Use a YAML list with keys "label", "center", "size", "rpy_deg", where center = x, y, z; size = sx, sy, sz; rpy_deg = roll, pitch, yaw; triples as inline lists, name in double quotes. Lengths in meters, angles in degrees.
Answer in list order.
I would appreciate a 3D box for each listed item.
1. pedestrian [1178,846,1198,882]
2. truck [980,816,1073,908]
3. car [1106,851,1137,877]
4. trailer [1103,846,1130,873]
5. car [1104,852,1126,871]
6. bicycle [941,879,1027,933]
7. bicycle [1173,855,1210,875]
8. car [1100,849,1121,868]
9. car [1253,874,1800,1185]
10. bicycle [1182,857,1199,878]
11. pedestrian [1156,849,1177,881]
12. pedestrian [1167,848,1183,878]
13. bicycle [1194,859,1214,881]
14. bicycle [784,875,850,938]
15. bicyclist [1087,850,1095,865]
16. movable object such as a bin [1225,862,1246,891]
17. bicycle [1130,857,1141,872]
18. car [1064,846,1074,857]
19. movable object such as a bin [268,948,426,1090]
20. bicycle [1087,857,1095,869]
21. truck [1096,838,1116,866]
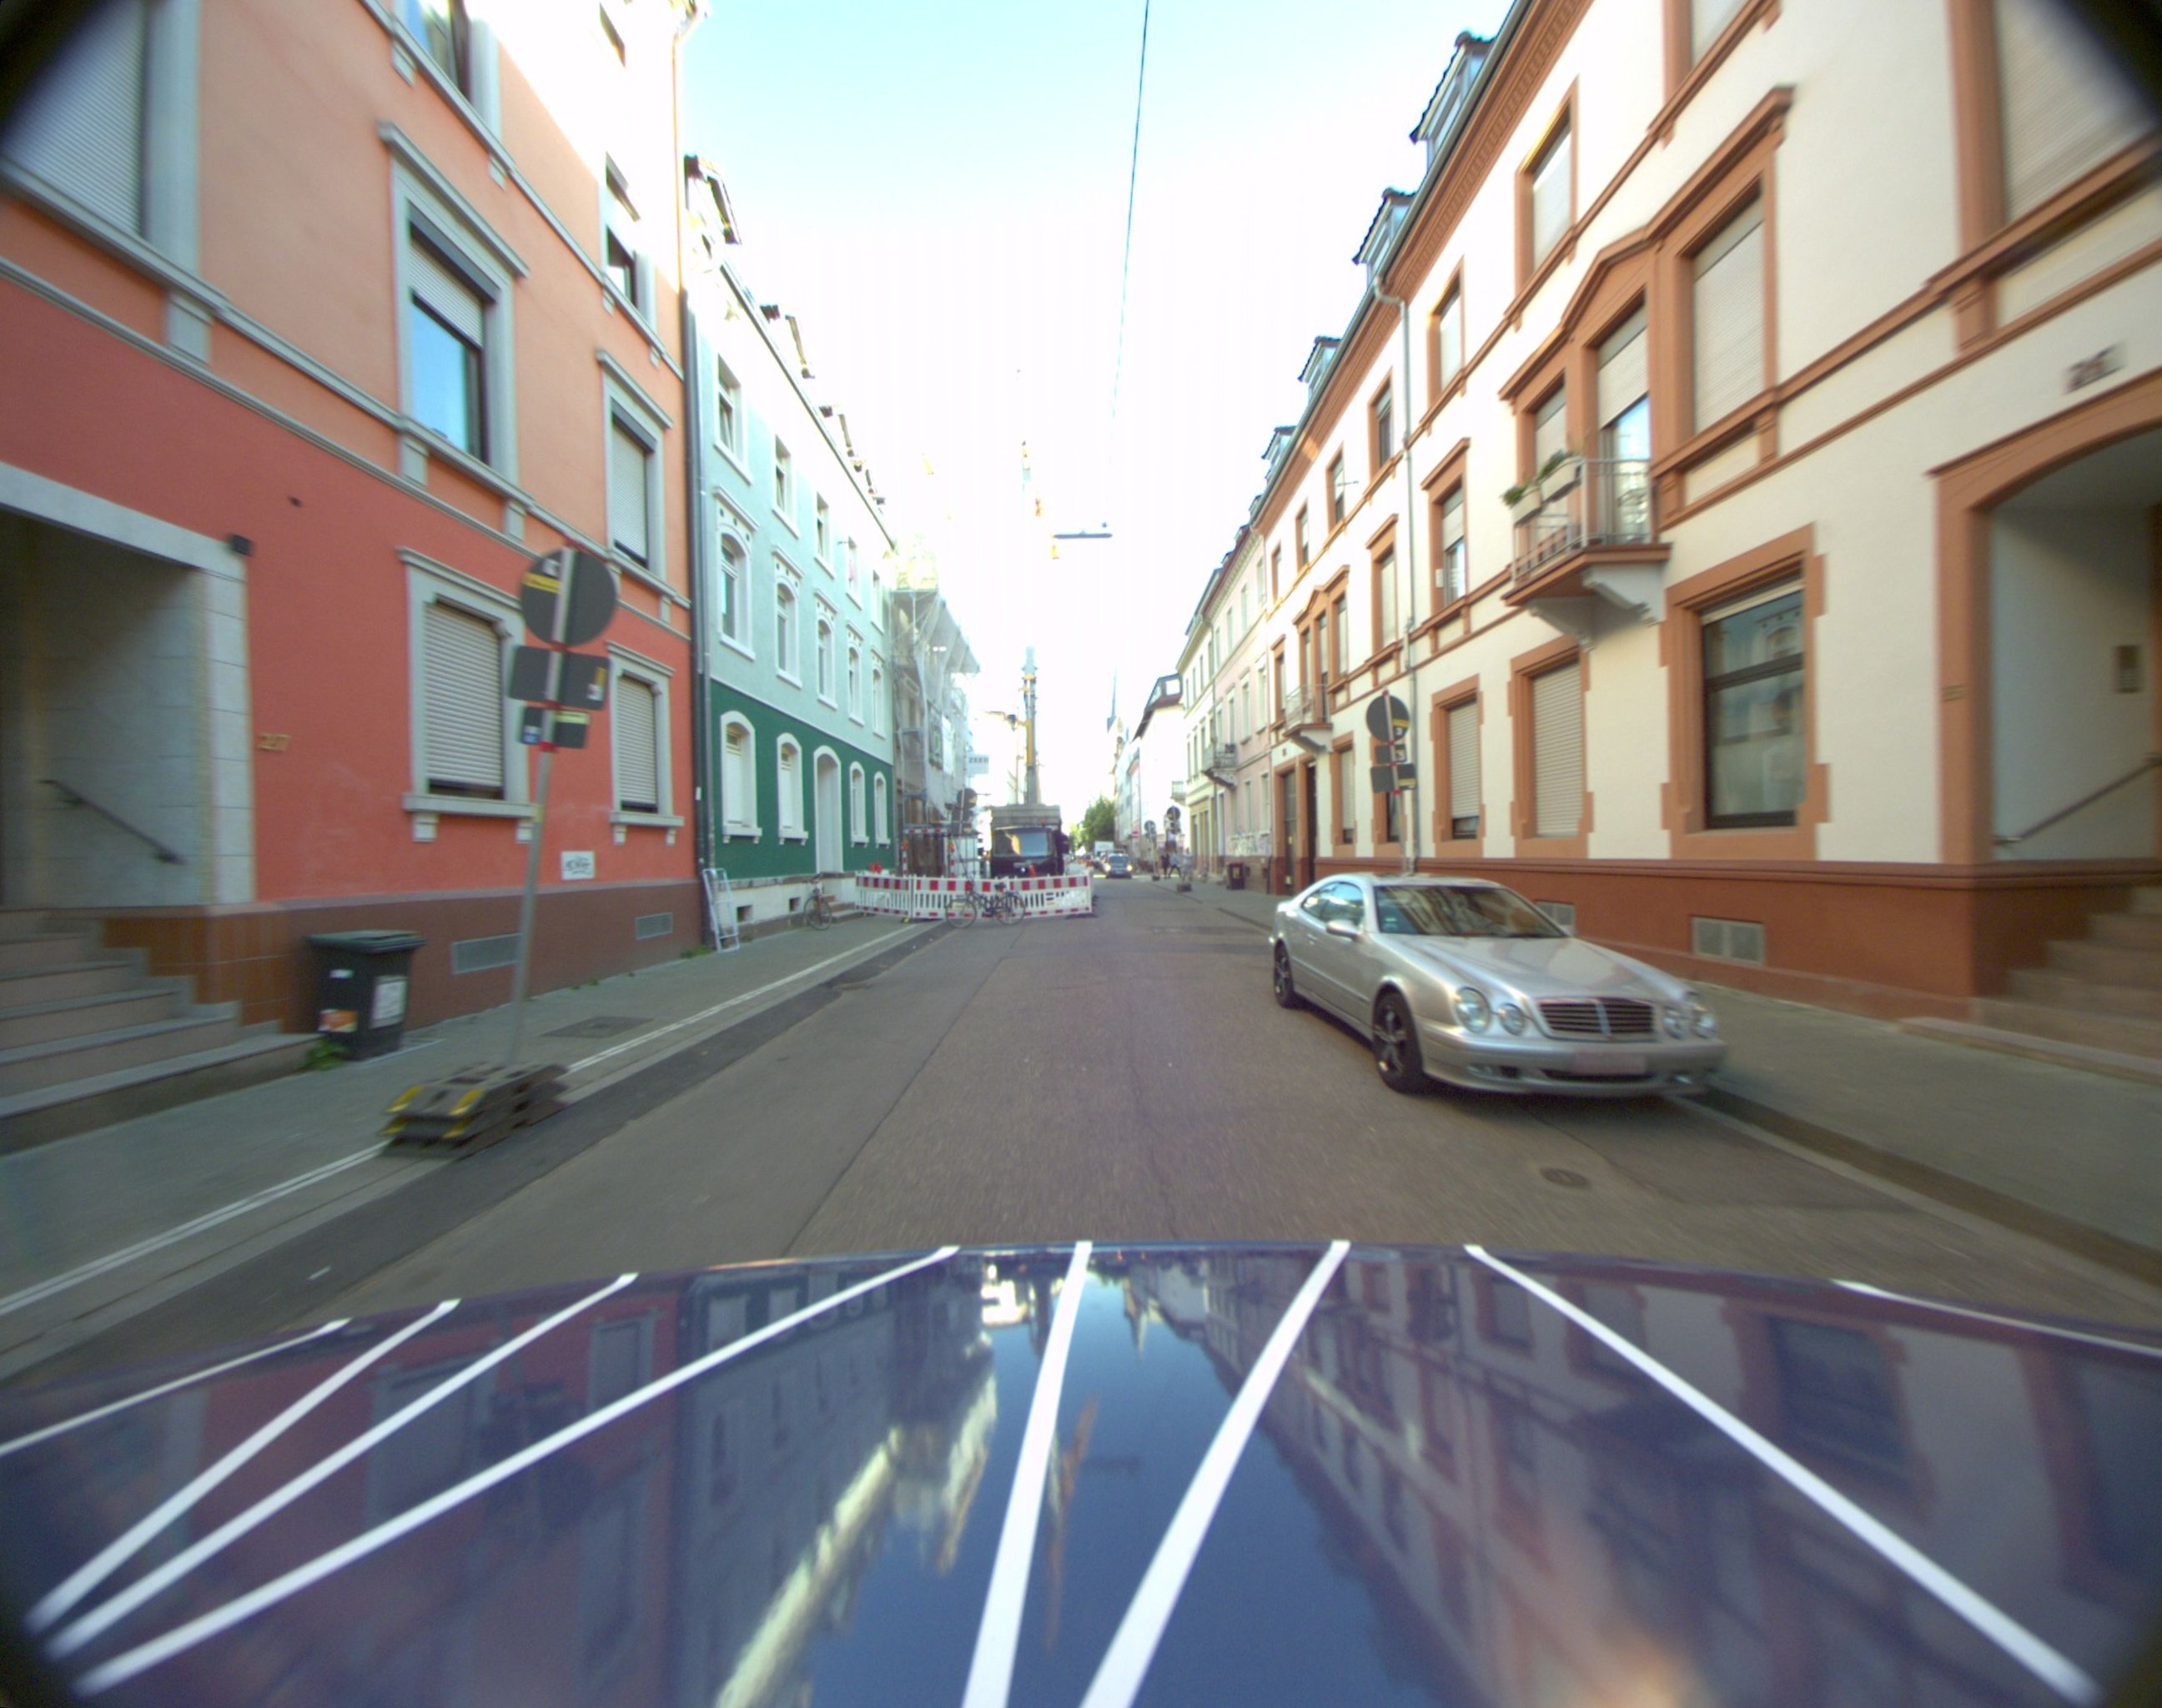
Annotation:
- label: "pedestrian"
  center: [5.228, 0.513, 37.259]
  size: [0.695, 1.691, 0.865]
  rpy_deg: [-5, -1, 0]
- label: "truck"
  center: [-1.762, 0.203, 27.748]
  size: [2.668, 2.798, 7.392]
  rpy_deg: [-2, 1, 0]
- label: "car"
  center: [2.636, 0.644, 50.612]
  size: [1.726, 1.596, 4.165]
  rpy_deg: [0, 0, -2]
- label: "trailer"
  center: [2.756, 0.383, 59.393]
  size: [1.666, 2.049, 4.362]
  rpy_deg: [0, 1, -3]
- label: "car"
  center: [2.847, 0.648, 64.940]
  size: [1.681, 1.546, 3.817]
  rpy_deg: [0, 1, 0]
- label: "bicycle"
  center: [-2.193, 1.168, 17.248]
  size: [1.855, 1.104, 0.643]
  rpy_deg: [-2, 1, -7]
- label: "bicycle"
  center: [7.759, 0.784, 53.605]
  size: [2.482, 1.351, 0.928]
  rpy_deg: [-1, 1, 1]
- label: "car"
  center: [2.886, 0.416, 75.181]
  size: [1.807, 1.834, 4.243]
  rpy_deg: [0, 1, 0]
- label: "car"
  center: [2.759, 0.954, 6.097]
  size: [1.715, 1.375, 4.505]
  rpy_deg: [1, 1, 0]
- label: "bicycle"
  center: [5.937, 0.723, 41.409]
  size: [0.605, 1.016, 1.818]
  rpy_deg: [-5, 1, 1]
- label: "pedestrian"
  center: [4.922, 0.625, 43.714]
  size: [0.829, 1.782, 0.988]
  rpy_deg: [1, 1, -16]
- label: "pedestrian"
  center: [5.753, 0.549, 46.612]
  size: [0.772, 1.839, 0.779]
  rpy_deg: [-2, 1, -8]
- label: "bicycle"
  center: [5.946, 0.765, 36.805]
  size: [0.623, 1.016, 1.818]
  rpy_deg: [-2, 0, 1]
- label: "bicycle"
  center: [-5.345, 1.034, 15.514]
  size: [0.656, 1.122, 1.834]
  rpy_deg: [3, 1, 0]
- label: "bicyclist"
  center: [0.966, 0.312, 72.724]
  size: [0.710, 1.427, 0.790]
  rpy_deg: [-1, 1, 2]
- label: "movable object such as a bin"
  center: [5.693, 0.836, 27.994]
  size: [0.607, 1.029, 0.596]
  rpy_deg: [-2, 1, -1]
- label: "bicycle"
  center: [4.219, 0.801, 58.462]
  size: [0.578, 1.132, 1.460]
  rpy_deg: [-2, 1, -5]
- label: "car"
  center: [-2.920, -0.623, 184.208]
  size: [1.999, 2.777, 4.562]
  rpy_deg: [-2, 1, -4]
- label: "movable object such as a bin"
  center: [-5.376, 1.192, 5.598]
  size: [0.599, 0.901, 0.579]
  rpy_deg: [2, 2, -1]
- label: "bicycle"
  center: [0.980, 0.883, 72.384]
  size: [0.710, 1.105, 1.935]
  rpy_deg: [-1, 0, 2]
- label: "truck"
  center: [2.924, -0.294, 89.506]
  size: [2.296, 3.165, 7.044]
  rpy_deg: [0, 1, 1]
